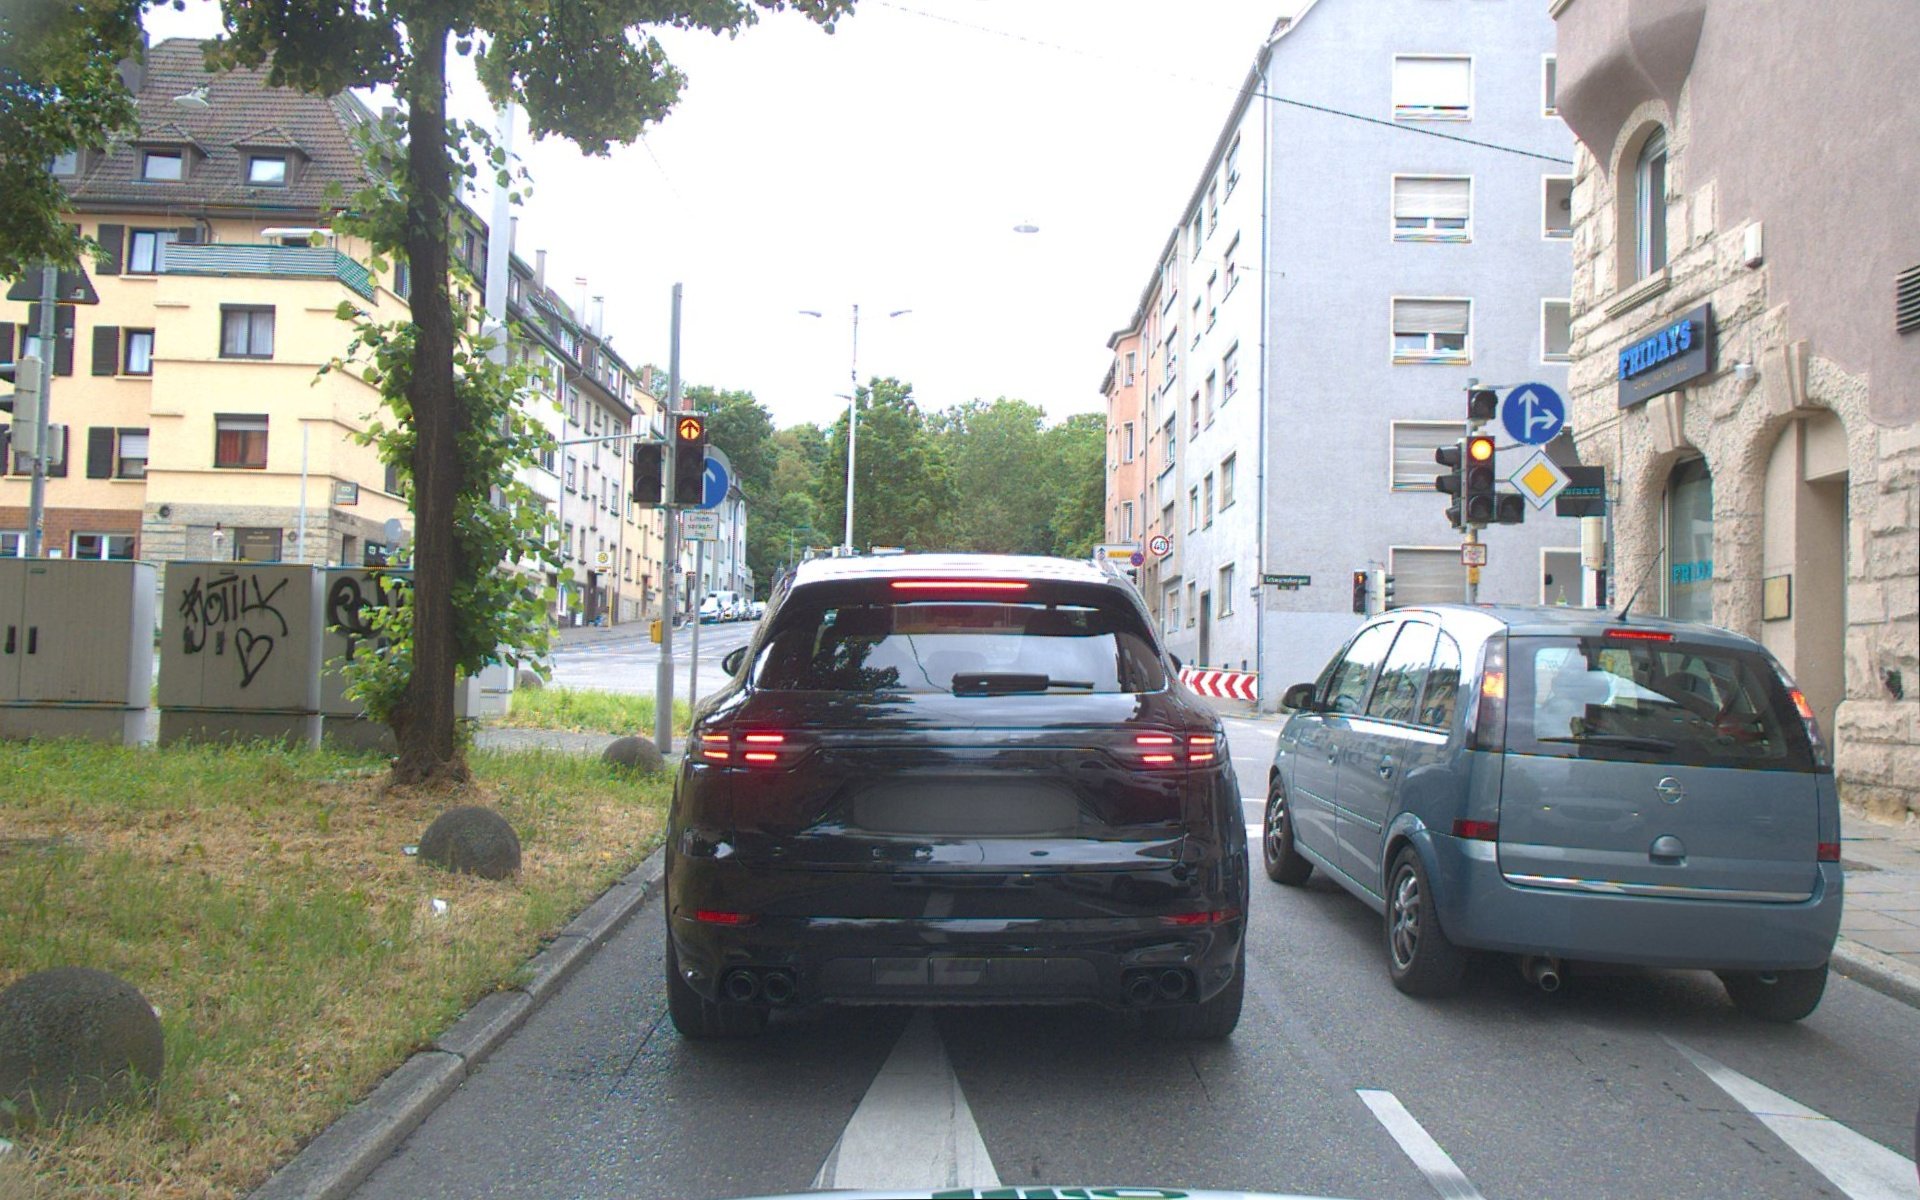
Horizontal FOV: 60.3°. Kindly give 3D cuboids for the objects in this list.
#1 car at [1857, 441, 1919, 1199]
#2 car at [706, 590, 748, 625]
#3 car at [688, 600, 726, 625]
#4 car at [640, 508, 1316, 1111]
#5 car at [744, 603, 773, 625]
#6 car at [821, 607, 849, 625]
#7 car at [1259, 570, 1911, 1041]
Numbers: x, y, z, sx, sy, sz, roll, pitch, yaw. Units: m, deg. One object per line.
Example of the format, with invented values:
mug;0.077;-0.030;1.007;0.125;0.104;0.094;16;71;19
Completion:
car;2.904;0.652;1.041;1.936;1.806;4.674;4;0;-2
car;-14.653;0.480;104.300;1.975;2.081;4.666;1;0;0
car;-15.052;0.741;98.477;1.703;1.411;3.813;1;0;0
car;0.028;0.605;6.704;1.916;1.704;3.999;0;0;-1
car;-15.175;1.036;124.710;1.655;1.565;3.813;1;0;0
car;-9.831;1.237;130.278;1.824;1.412;4.094;1;0;0
car;2.633;0.764;7.909;1.596;1.625;3.668;4;0;-1
